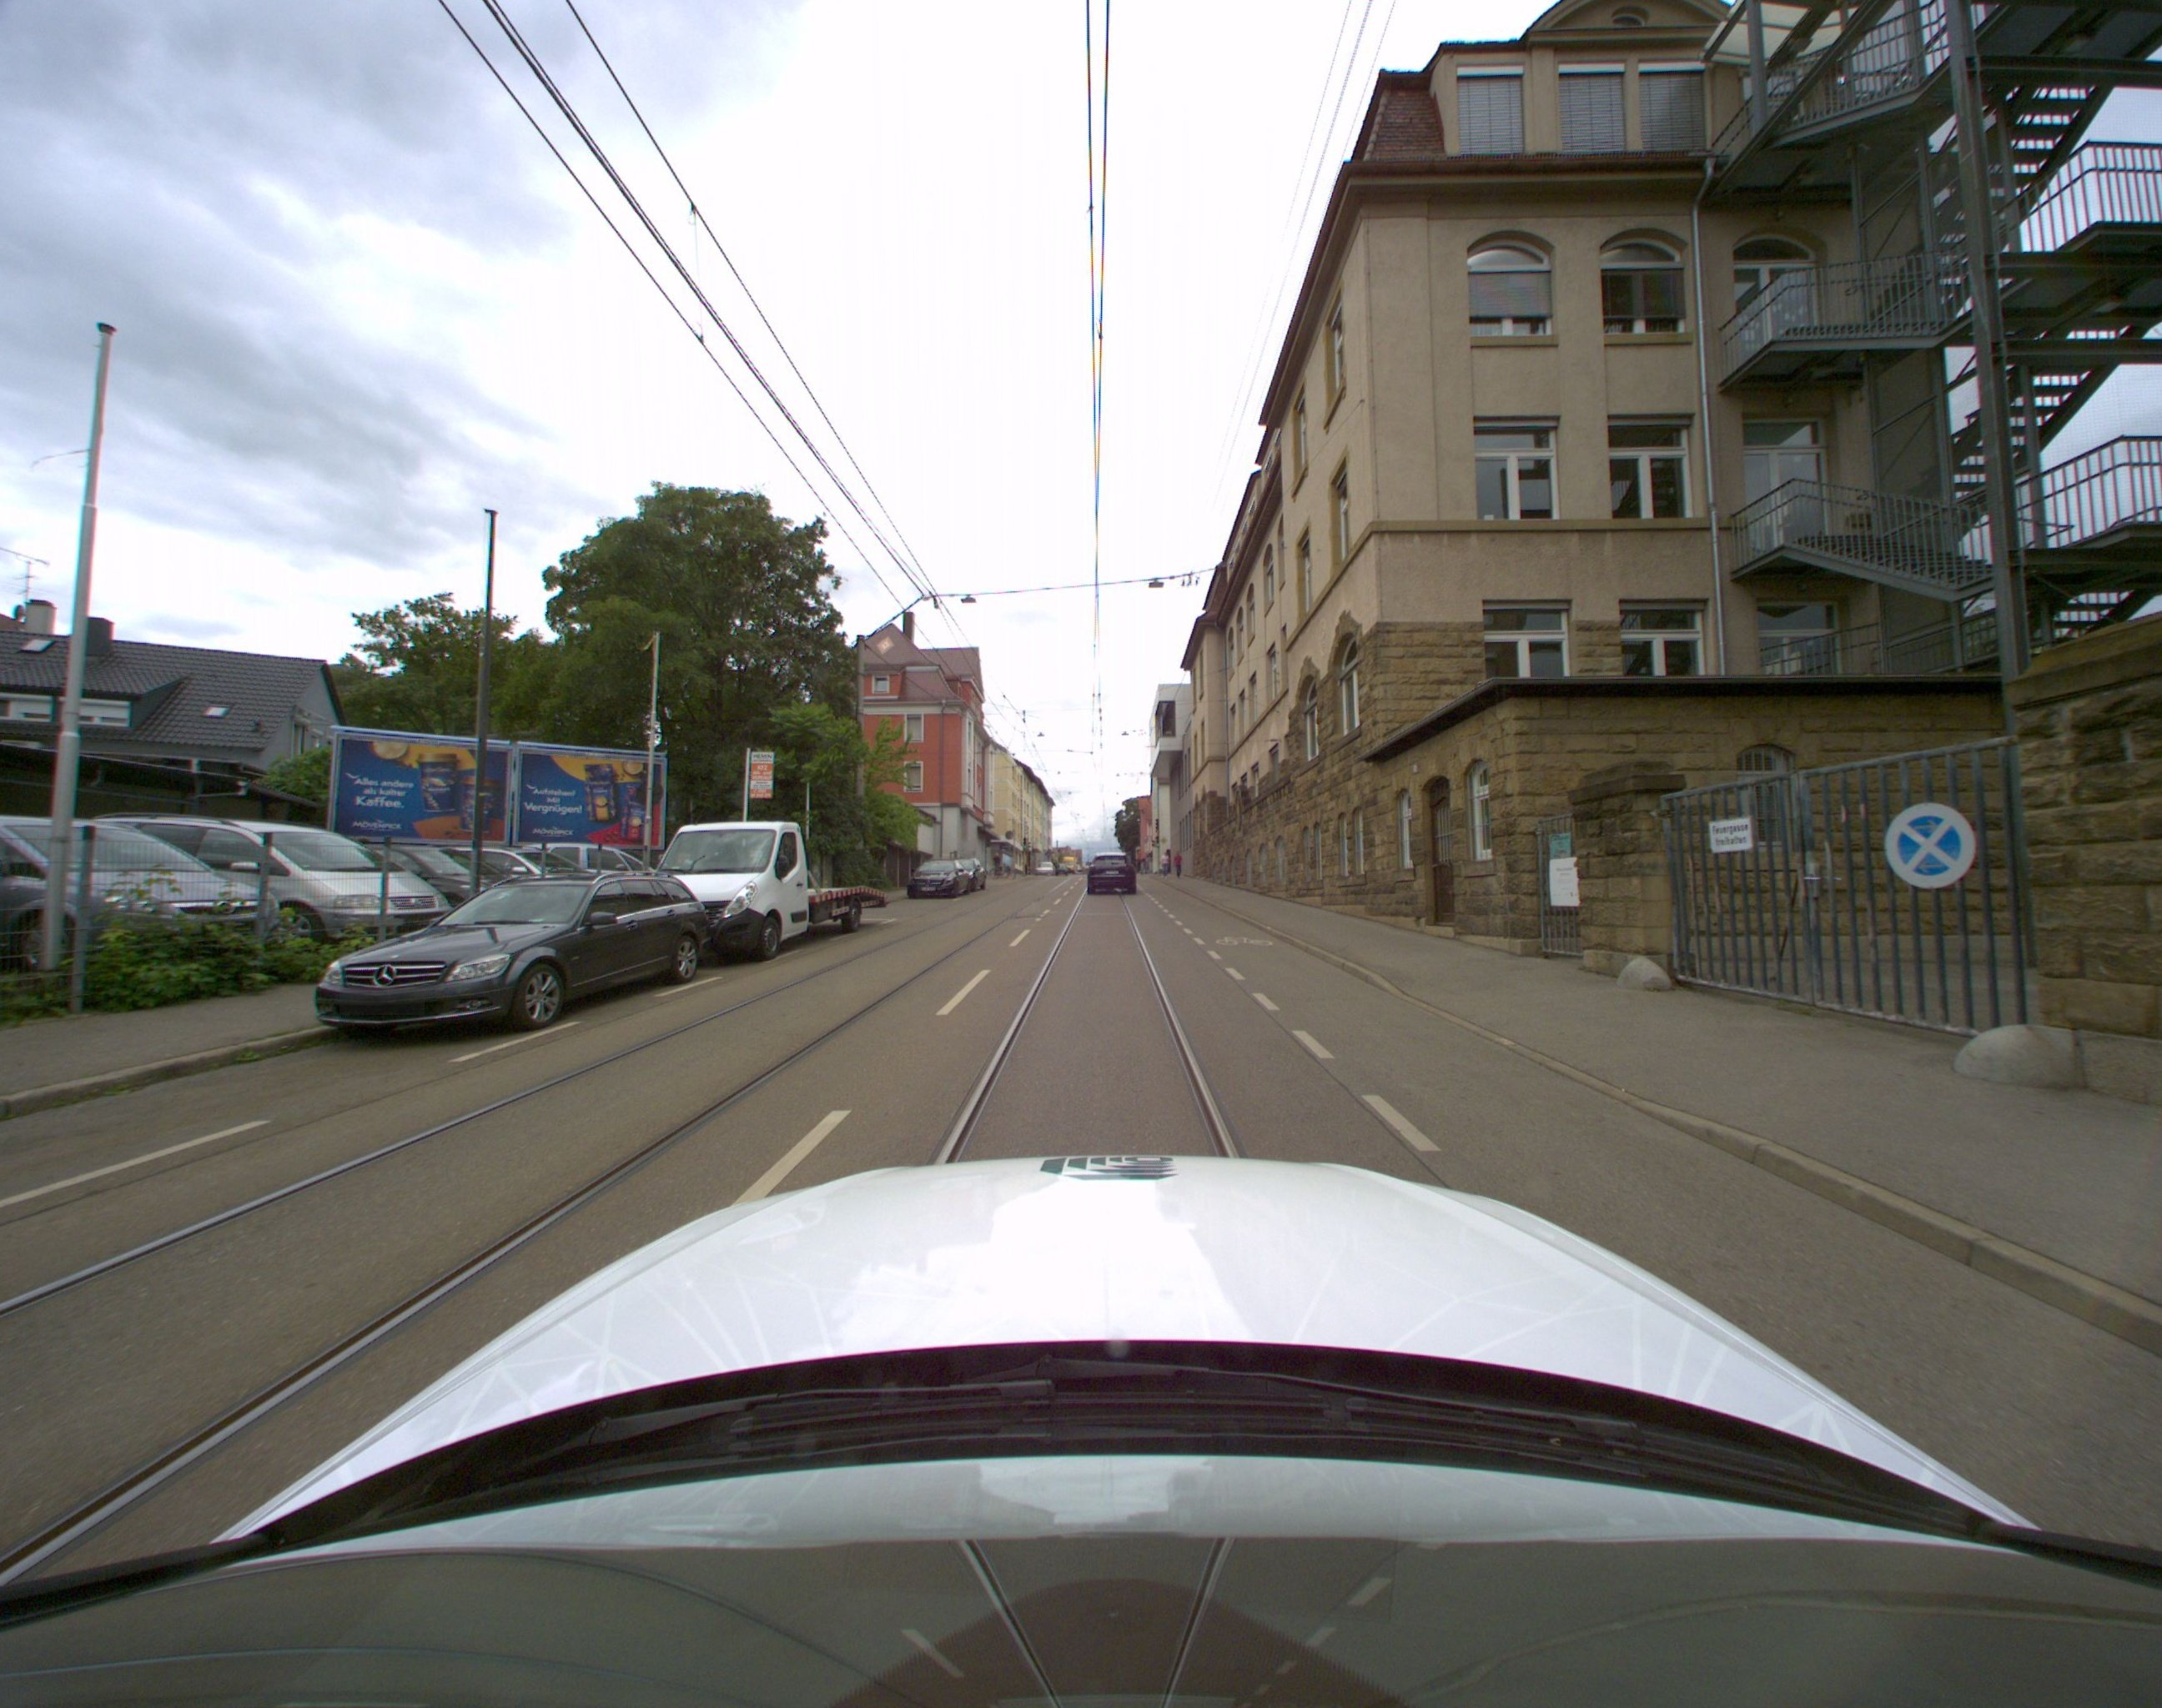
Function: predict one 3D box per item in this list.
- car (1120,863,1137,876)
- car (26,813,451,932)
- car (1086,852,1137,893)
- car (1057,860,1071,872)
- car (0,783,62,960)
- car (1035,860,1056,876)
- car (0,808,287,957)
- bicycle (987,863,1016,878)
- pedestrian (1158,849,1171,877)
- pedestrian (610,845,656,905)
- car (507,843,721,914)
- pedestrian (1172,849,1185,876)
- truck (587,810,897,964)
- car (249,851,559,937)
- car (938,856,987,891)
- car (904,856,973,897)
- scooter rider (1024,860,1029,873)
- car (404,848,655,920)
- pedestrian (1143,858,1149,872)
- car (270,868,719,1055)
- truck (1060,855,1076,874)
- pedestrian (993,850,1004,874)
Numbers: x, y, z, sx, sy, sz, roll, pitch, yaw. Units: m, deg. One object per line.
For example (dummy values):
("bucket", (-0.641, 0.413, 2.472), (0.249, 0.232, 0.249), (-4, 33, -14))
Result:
("car", (5.888, 1.916, 101.953), (1.986, 1.563, 4.292), (0, 0, 2))
("car", (-11.322, 0.235, 11.156), (4.046, 1.494, 1.688), (0, 0, 0))
("car", (1.267, 0.717, 33.722), (1.986, 1.563, 4.292), (0, 0, 2))
("car", (-2.408, 1.700, 116.520), (1.848, 1.607, 4.298), (0, 0, 1))
("car", (-11.331, 0.163, 6.558), (4.046, 1.524, 1.739), (0, 0, 0))
("car", (-3.653, 1.416, 83.988), (1.848, 1.607, 4.298), (0, 0, 1))
("car", (-11.424, 0.284, 8.788), (4.046, 1.445, 1.688), (0, 0, 0))
("bicycle", (-5.307, 1.080, 54.332), (1.904, 1.000, 0.479), (0, 0, 1))
("pedestrian", (5.173, 0.558, 50.622), (0.788, 1.667, 0.799), (0, 0, 4))
("pedestrian", (-12.483, 0.581, 22.727), (0.769, 1.634, 0.841), (0, 0, 5))
("car", (-10.706, 0.527, 18.956), (3.964, 1.551, 1.680), (0, 0, -14))
("pedestrian", (6.051, 0.550, 50.666), (0.788, 1.667, 0.799), (0, 0, 4))
("truck", (-5.766, 0.484, 15.665), (2.271, 2.188, 8.030), (0, 0, 3))
("car", (-11.386, 0.636, 13.883), (3.862, 1.357, 1.688), (0, 0, 0))
("car", (-5.208, 0.827, 36.283), (1.509, 1.446, 3.711), (0, 0, 2))
("car", (-5.316, 0.807, 30.883), (1.706, 1.446, 4.292), (0, 0, 2))
("scooter rider", (-6.633, 1.533, 99.282), (0.646, 1.585, 0.765), (0, 0, -3))
("car", (-10.947, 0.569, 16.345), (3.862, 1.357, 1.688), (0, 0, 0))
("pedestrian", (8.109, 1.397, 101.812), (0.788, 1.667, 0.799), (0, 0, 4))
("car", (-5.920, 0.937, 9.080), (1.691, 1.433, 4.481), (-2, 0, 0))
("truck", (-2.204, 1.746, 136.751), (2.294, 3.036, 9.036), (0, -1, 1))
("pedestrian", (-6.354, 0.605, 62.589), (0.772, 1.776, 0.650), (0, 0, 2))
